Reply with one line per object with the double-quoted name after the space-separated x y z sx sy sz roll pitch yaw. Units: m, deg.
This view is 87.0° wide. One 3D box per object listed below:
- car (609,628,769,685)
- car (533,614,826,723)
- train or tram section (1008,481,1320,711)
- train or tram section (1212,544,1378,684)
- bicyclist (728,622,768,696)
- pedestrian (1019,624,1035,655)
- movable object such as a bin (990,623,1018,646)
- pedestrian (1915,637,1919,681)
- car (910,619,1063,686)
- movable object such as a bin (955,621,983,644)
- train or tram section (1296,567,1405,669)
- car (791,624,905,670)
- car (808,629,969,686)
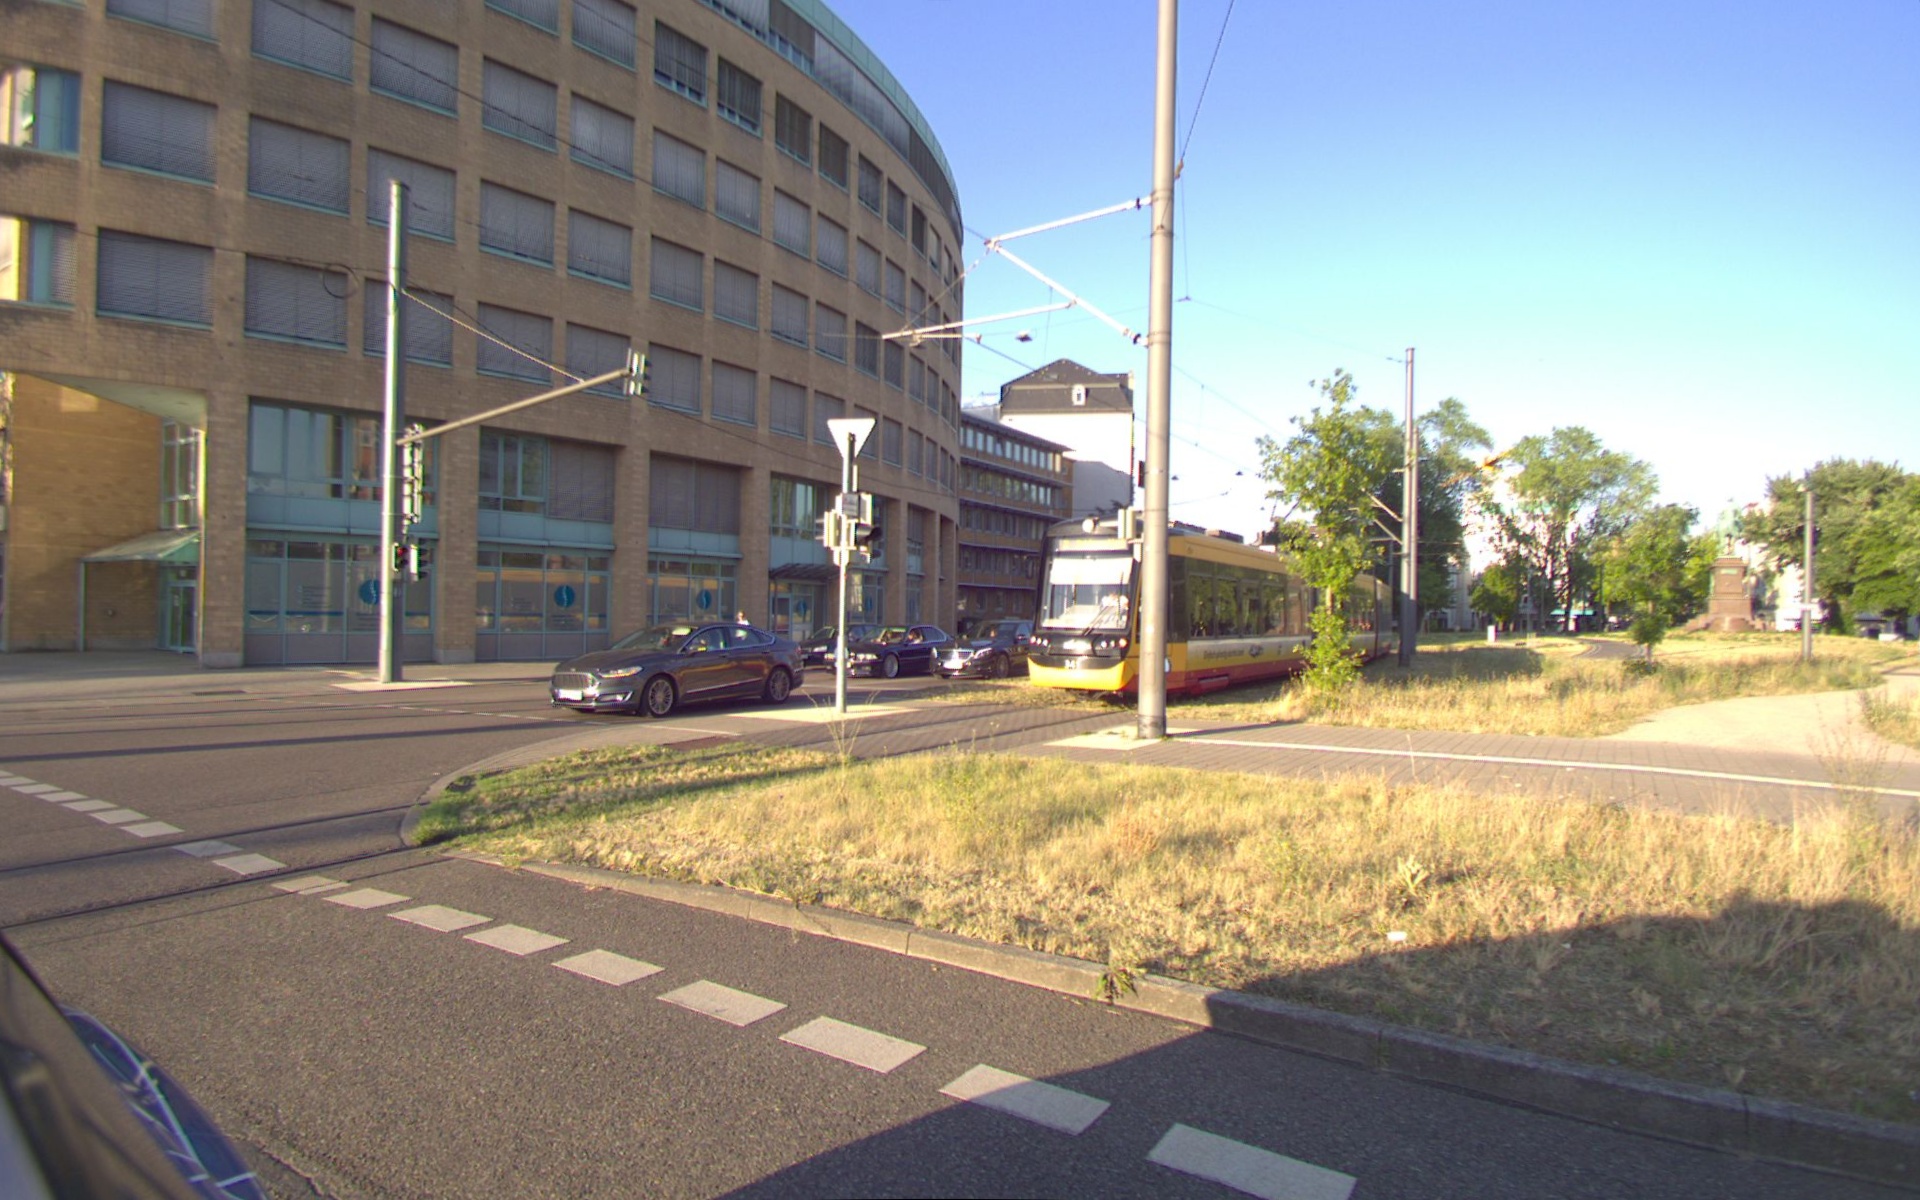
-7.334 1.492 27.798 1.743 1.396 4.181 0 -2 32 "car"
-4.390 1.023 16.665 1.884 1.497 4.677 0 -1 29 "car"
5.396 0.094 22.969 2.907 3.767 13.081 0 -1 30 "train or tram section"
11.400 0.526 33.287 2.875 3.767 12.059 0 -1 30 "train or tram section"
-5.404 1.482 25.794 0.633 1.834 0.769 0 -2 30 "bicyclist"
3.701 2.188 56.054 0.625 1.694 0.707 -3 -3 27 "pedestrian"
2.840 2.207 65.458 1.421 1.470 1.320 0 -1 27 "movable object such as a bin"
32.999 2.004 34.220 0.690 1.507 0.911 0 -1 18 "pedestrian"
0.794 1.304 25.928 1.892 1.547 4.654 -1 -2 31 "car"
0.597 2.155 67.437 1.421 1.470 1.320 0 -2 29 "movable object such as a bin"
17.081 0.812 43.630 2.902 3.767 12.073 0 -1 28 "train or tram section"
-3.616 1.500 33.270 1.753 1.397 3.959 0 -2 30 "car"
-1.802 1.478 27.203 1.993 1.396 4.689 -1 -2 31 "car"
